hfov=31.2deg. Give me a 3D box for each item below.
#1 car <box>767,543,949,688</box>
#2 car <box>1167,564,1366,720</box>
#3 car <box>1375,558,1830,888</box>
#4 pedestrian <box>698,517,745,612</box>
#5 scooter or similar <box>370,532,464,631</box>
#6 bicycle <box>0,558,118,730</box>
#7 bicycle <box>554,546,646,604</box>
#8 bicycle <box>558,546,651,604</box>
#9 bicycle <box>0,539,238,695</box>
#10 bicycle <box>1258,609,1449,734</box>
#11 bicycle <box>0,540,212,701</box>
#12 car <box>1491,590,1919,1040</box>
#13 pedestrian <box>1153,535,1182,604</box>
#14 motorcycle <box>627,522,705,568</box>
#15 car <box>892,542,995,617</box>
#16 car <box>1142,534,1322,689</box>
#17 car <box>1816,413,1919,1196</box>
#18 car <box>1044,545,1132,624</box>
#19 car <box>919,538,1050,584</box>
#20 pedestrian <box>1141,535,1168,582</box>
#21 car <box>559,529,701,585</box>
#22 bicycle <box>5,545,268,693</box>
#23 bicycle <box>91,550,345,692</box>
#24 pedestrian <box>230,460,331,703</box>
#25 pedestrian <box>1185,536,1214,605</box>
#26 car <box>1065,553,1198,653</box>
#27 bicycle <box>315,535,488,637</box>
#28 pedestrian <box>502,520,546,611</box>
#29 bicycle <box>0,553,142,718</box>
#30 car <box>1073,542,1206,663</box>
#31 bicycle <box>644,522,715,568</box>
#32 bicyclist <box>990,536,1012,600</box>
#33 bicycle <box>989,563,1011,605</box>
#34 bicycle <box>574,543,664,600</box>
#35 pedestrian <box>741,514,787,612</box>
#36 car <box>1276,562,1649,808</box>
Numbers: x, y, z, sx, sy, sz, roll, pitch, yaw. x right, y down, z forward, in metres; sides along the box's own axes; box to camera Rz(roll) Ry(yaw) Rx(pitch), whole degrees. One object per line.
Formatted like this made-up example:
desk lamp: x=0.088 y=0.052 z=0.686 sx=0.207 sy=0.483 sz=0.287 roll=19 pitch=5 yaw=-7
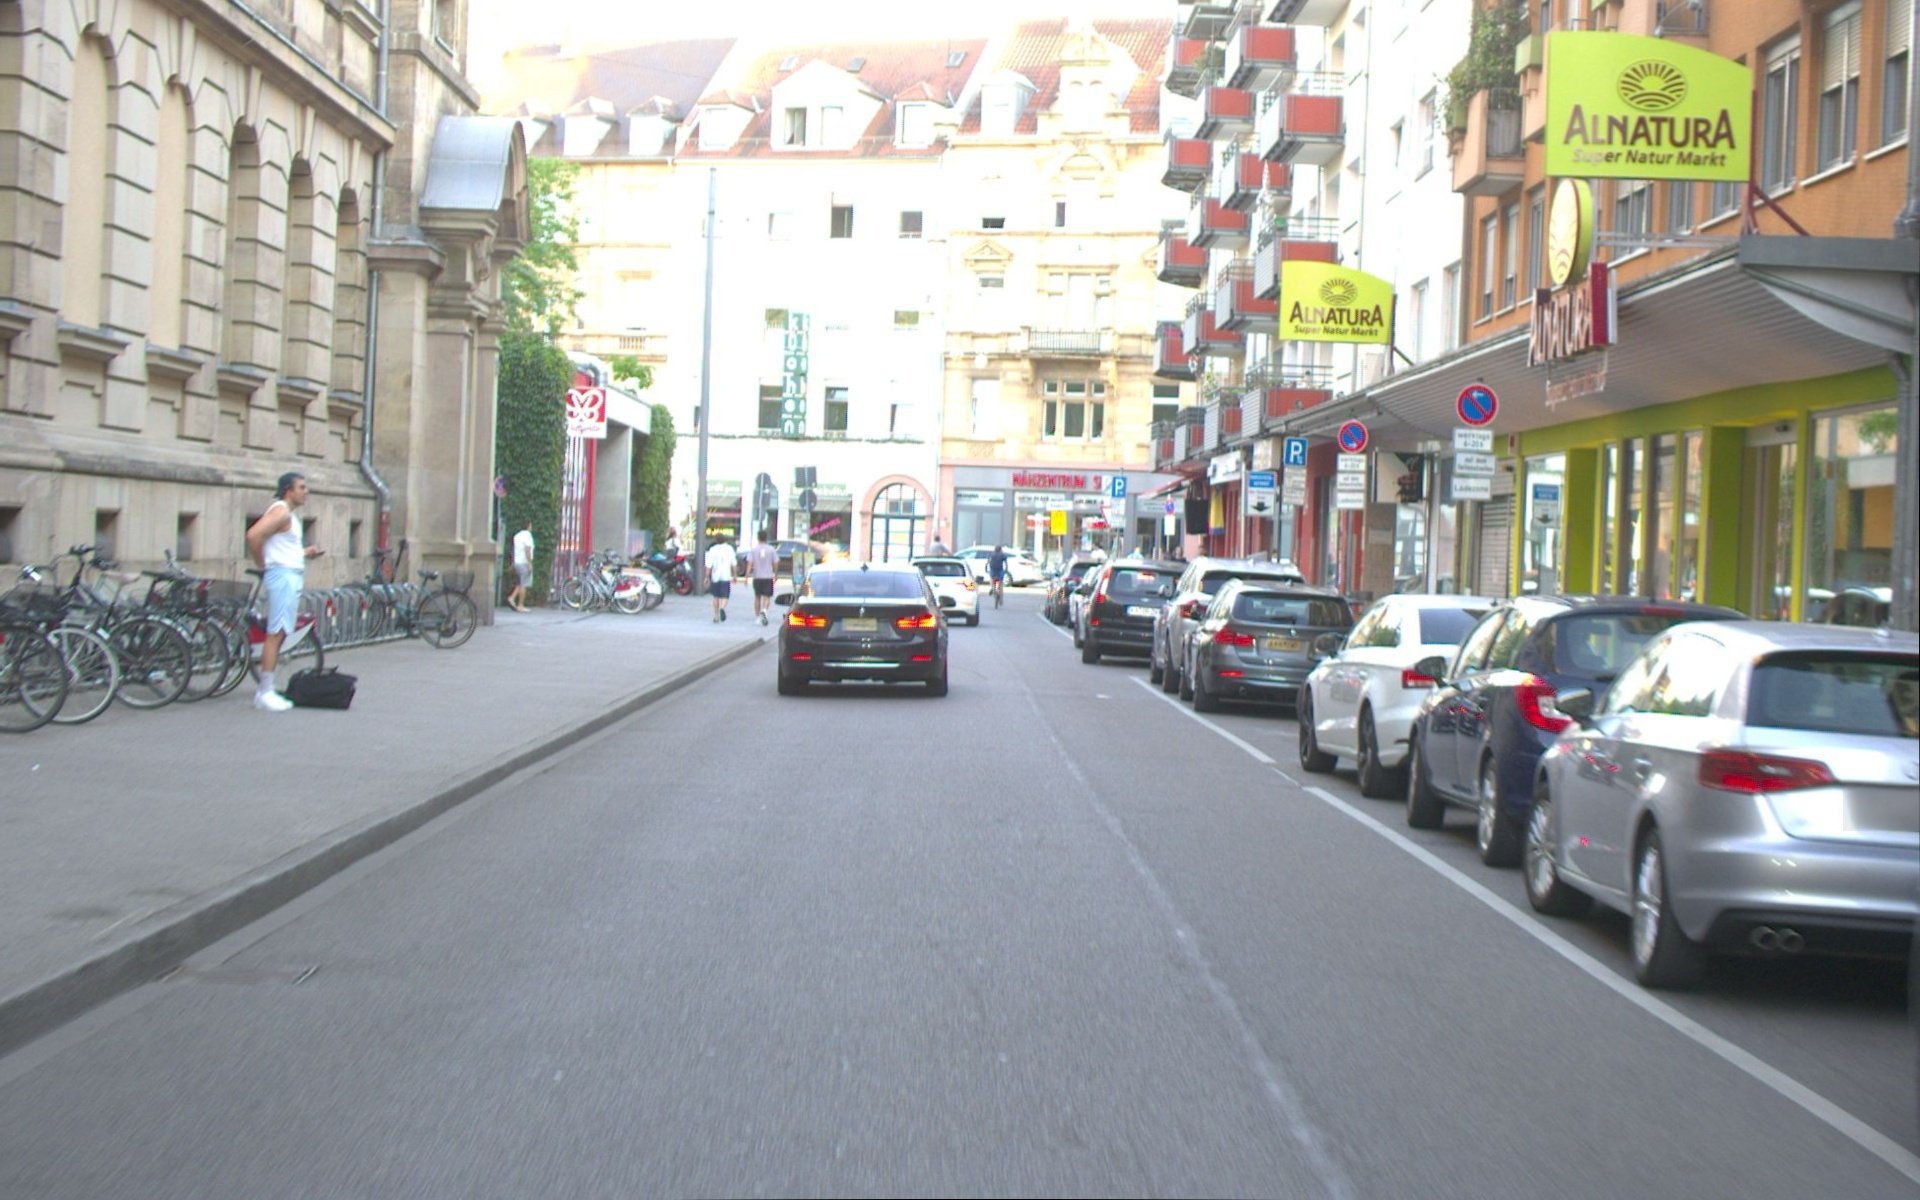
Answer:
car: x=-1.055 y=0.125 z=37.718 sx=1.765 sy=1.370 sz=4.791 roll=3 pitch=1 yaw=0
car: x=3.286 y=0.405 z=37.644 sx=1.691 sy=1.410 sz=4.756 roll=4 pitch=1 yaw=0
car: x=3.528 y=0.602 z=19.618 sx=1.618 sy=1.511 sz=4.174 roll=4 pitch=1 yaw=-1
pedestrian: x=-4.689 y=-0.710 z=67.740 sx=0.741 sy=1.806 sz=1.009 roll=4 pitch=1 yaw=-1
scooter or similar: x=-7.169 y=-0.244 z=45.365 sx=1.132 sy=1.228 sz=0.497 roll=3 pitch=1 yaw=-12
bicycle: x=-6.507 y=0.242 z=22.189 sx=1.937 sy=1.058 sz=0.620 roll=3 pitch=0 yaw=-1
bicycle: x=-7.368 y=-0.521 z=70.345 sx=1.794 sy=1.104 sz=0.500 roll=2 pitch=1 yaw=-1
bicycle: x=-7.238 y=-0.514 z=69.999 sx=1.794 sy=1.104 sz=0.500 roll=2 pitch=1 yaw=0
bicycle: x=-6.612 y=0.131 z=26.855 sx=1.794 sy=1.104 sz=0.500 roll=3 pitch=0 yaw=-6
bicycle: x=3.535 y=0.645 z=30.797 sx=1.732 sy=1.052 sz=0.659 roll=2 pitch=1 yaw=-41
bicycle: x=-6.553 y=0.142 z=25.655 sx=1.794 sy=1.104 sz=0.500 roll=3 pitch=0 yaw=-6
car: x=3.444 y=0.791 z=14.507 sx=1.687 sy=1.448 sz=4.498 roll=4 pitch=1 yaw=1
pedestrian: x=5.015 y=-0.742 z=83.091 sx=0.648 sy=1.655 sz=0.655 roll=-1 pitch=1 yaw=2
motorcycle: x=-7.467 y=-1.393 z=87.295 sx=1.803 sy=1.060 sz=0.763 roll=4 pitch=1 yaw=26
car: x=-0.315 y=-0.453 z=72.923 sx=1.878 sy=1.468 sz=4.000 roll=2 pitch=1 yaw=4
car: x=3.308 y=0.093 z=42.608 sx=1.752 sy=1.662 sz=4.756 roll=4 pitch=1 yaw=0
car: x=3.489 y=0.589 z=7.412 sx=1.846 sy=2.051 sz=5.054 roll=3 pitch=1 yaw=-1
car: x=3.002 y=-0.399 z=81.346 sx=1.765 sy=1.636 sz=4.791 roll=4 pitch=1 yaw=0
car: x=0.906 y=-1.415 z=125.369 sx=4.357 sy=1.557 sz=1.866 roll=2 pitch=0 yaw=23
pedestrian: x=5.374 y=-1.152 z=95.026 sx=0.687 sy=1.282 sz=0.608 roll=1 pitch=0 yaw=9
car: x=-9.568 y=-1.262 z=99.555 sx=3.986 sy=1.496 sz=1.892 roll=1 pitch=1 yaw=-8
bicycle: x=-6.611 y=0.150 z=27.670 sx=1.937 sy=1.058 sz=0.620 roll=3 pitch=0 yaw=-6
bicycle: x=-6.185 y=0.170 z=28.712 sx=1.937 sy=1.058 sz=0.620 roll=3 pitch=0 yaw=-2
pedestrian: x=-5.307 y=-0.151 z=26.873 sx=0.588 sy=1.845 sz=0.754 roll=4 pitch=1 yaw=-6
pedestrian: x=5.782 y=-0.722 z=83.093 sx=0.648 sy=1.655 sz=0.794 roll=-1 pitch=1 yaw=2
car: x=2.810 y=0.013 z=57.236 sx=1.736 sy=1.410 sz=4.683 roll=4 pitch=1 yaw=-2
bicycle: x=-6.753 y=-0.168 z=41.576 sx=1.936 sy=1.058 sz=0.620 roll=5 pitch=0 yaw=-15
pedestrian: x=-8.510 y=-0.679 z=67.116 sx=0.717 sy=1.748 sz=0.848 roll=2 pitch=1 yaw=-1
bicycle: x=-6.632 y=0.208 z=23.437 sx=1.937 sy=1.058 sz=0.620 roll=3 pitch=0 yaw=-6
car: x=2.750 y=-0.003 z=51.858 sx=1.794 sy=1.604 sz=4.486 roll=4 pitch=1 yaw=4
bicycle: x=-7.341 y=-1.450 z=90.071 sx=1.794 sy=1.104 sz=0.500 roll=3 pitch=1 yaw=-5
bicyclist: x=1.116 y=-0.881 z=94.268 sx=0.523 sy=1.750 sz=0.620 roll=3 pitch=1 yaw=1
bicycle: x=1.095 y=-0.436 z=94.297 sx=0.536 sy=1.104 sz=1.800 roll=3 pitch=1 yaw=1
bicycle: x=-7.194 y=-0.605 z=72.519 sx=1.794 sy=1.104 sz=0.500 roll=3 pitch=1 yaw=3
pedestrian: x=-3.878 y=-0.740 z=68.133 sx=0.744 sy=1.887 sz=1.050 roll=3 pitch=1 yaw=1
car: x=3.497 y=0.532 z=24.790 sx=1.691 sy=1.406 sz=4.640 roll=4 pitch=1 yaw=-3
